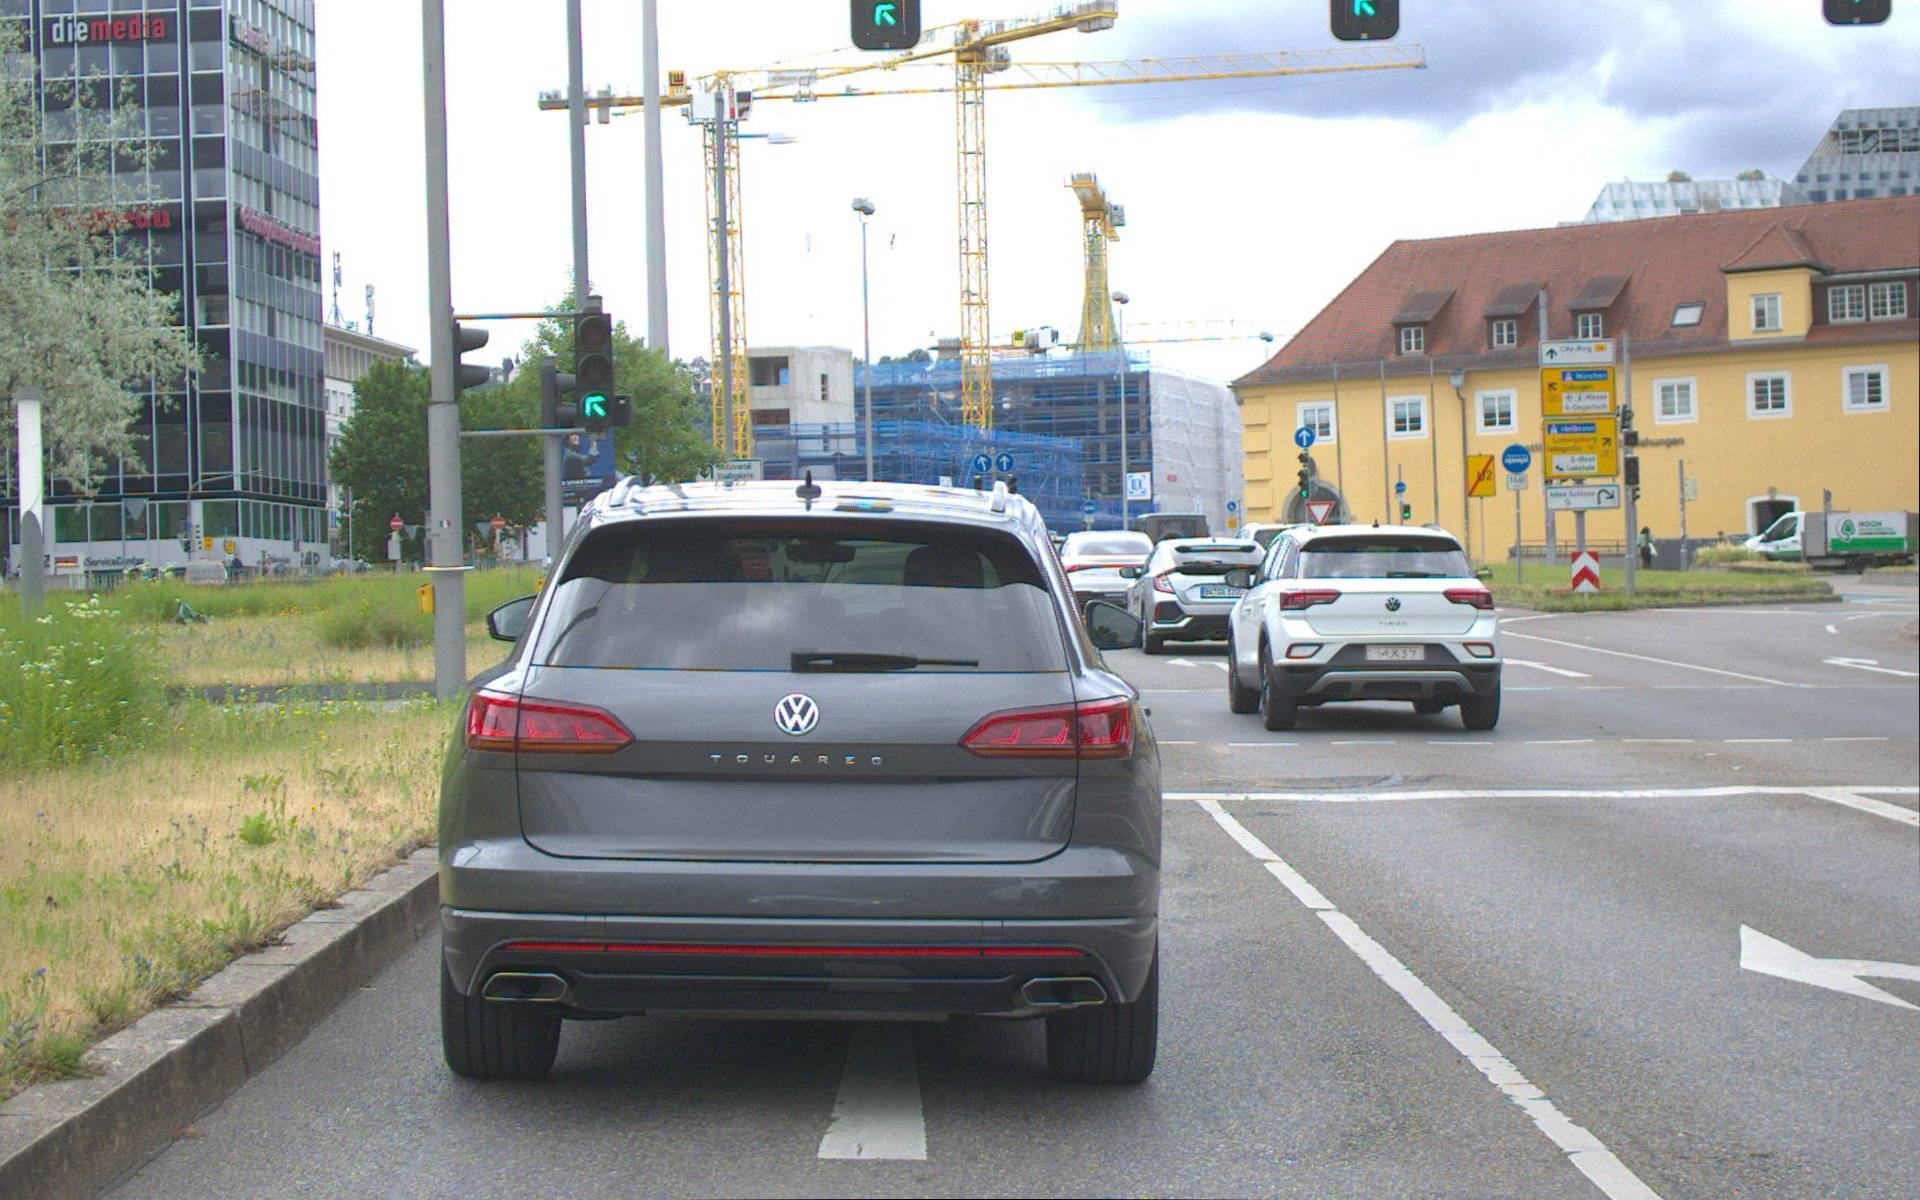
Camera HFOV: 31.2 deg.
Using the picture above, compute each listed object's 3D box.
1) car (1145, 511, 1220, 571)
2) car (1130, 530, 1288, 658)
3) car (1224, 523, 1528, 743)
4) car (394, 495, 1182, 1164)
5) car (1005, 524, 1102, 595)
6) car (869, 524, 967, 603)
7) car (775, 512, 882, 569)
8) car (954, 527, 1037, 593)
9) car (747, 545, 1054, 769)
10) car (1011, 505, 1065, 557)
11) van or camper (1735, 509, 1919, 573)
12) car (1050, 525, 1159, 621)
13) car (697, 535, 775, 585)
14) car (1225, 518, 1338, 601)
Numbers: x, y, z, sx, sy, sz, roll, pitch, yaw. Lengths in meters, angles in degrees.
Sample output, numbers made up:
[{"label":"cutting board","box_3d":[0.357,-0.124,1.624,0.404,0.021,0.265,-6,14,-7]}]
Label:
[{"label":"car","box_3d":[5.714,-1.536,88.515,1.719,1.497,3.981,0,1,1]},{"label":"car","box_3d":[3.068,-0.114,43.044,1.719,1.497,4.144,0,1,1]},{"label":"car","box_3d":[3.173,0.200,26.919,1.893,1.580,3.801,0,1,0]},{"label":"car","box_3d":[-0.440,0.518,10.498,1.933,1.641,4.000,0,1,0]},{"label":"car","box_3d":[1.985,-0.889,74.029,1.814,1.491,3.907,0,1,-2]},{"label":"car","box_3d":[-0.862,-0.748,68.090,1.814,1.491,3.907,-1,1,-2]},{"label":"car","box_3d":[-3.620,-1.637,93.566,2.244,1.497,4.613,-1,1,-11]},{"label":"car","box_3d":[0.944,-1.080,93.360,2.139,1.722,4.070,-1,1,-1]},{"label":"car","box_3d":[-0.409,0.344,24.524,1.993,1.382,4.000,-1,2,0]},{"label":"car","box_3d":[3.030,-2.705,134.147,1.993,2.007,4.000,-1,1,0]},{"label":"van or camper","box_3d":[28.845,-1.939,113.577,6.017,2.007,2.015,0,1,36]},{"label":"car","box_3d":[2.408,-0.472,56.759,1.719,1.497,3.981,0,1,3]},{"label":"car","box_3d":[-6.852,-1.234,104.922,1.718,1.497,3.982,-1,1,-13]},{"label":"car","box_3d":[6.053,-0.791,64.989,1.803,1.497,3.981,0,1,1]}]
